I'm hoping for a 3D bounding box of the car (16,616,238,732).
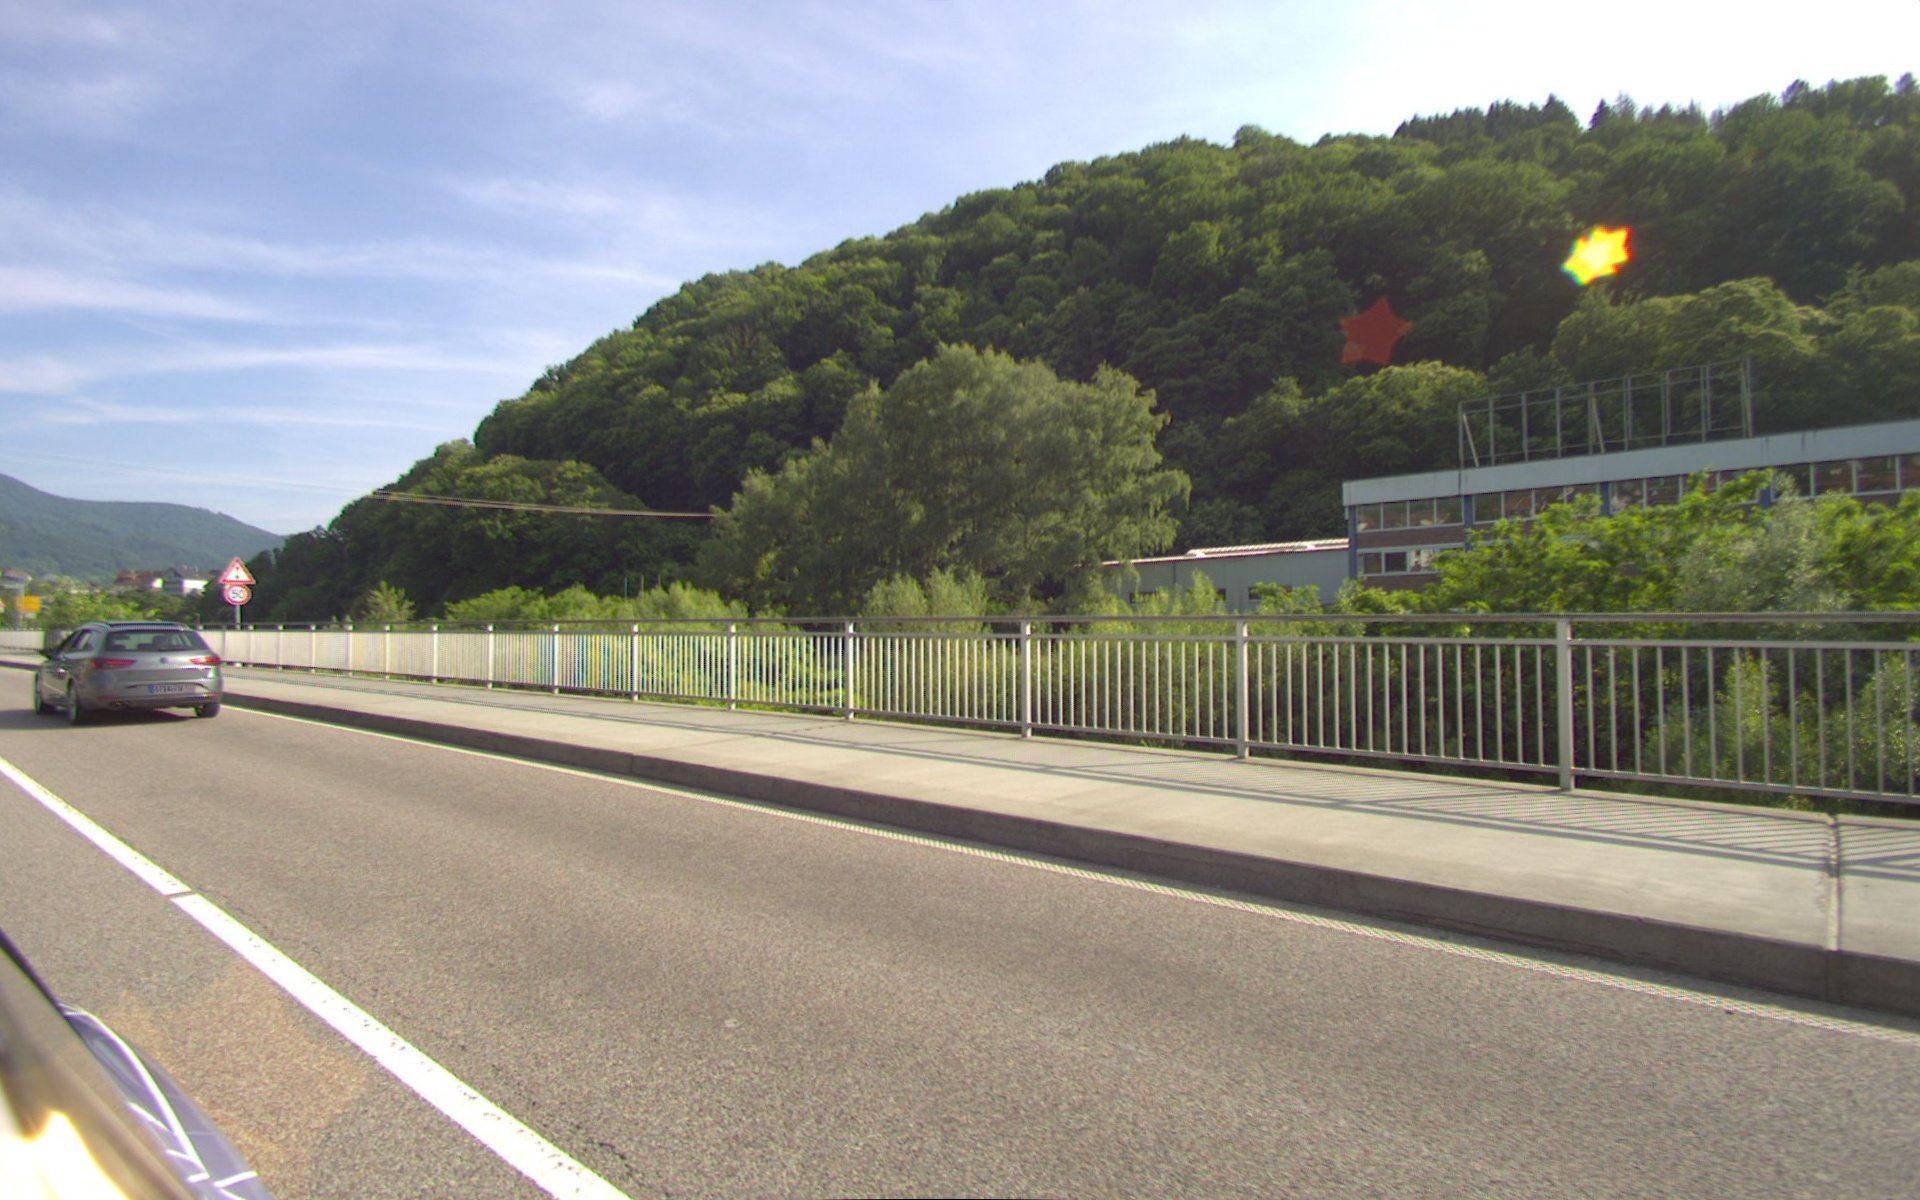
[{"bbox_3d":[-12.789,1.038,15.423,4.794,1.495,1.794,-2,-2,40],"label":"car"}]
